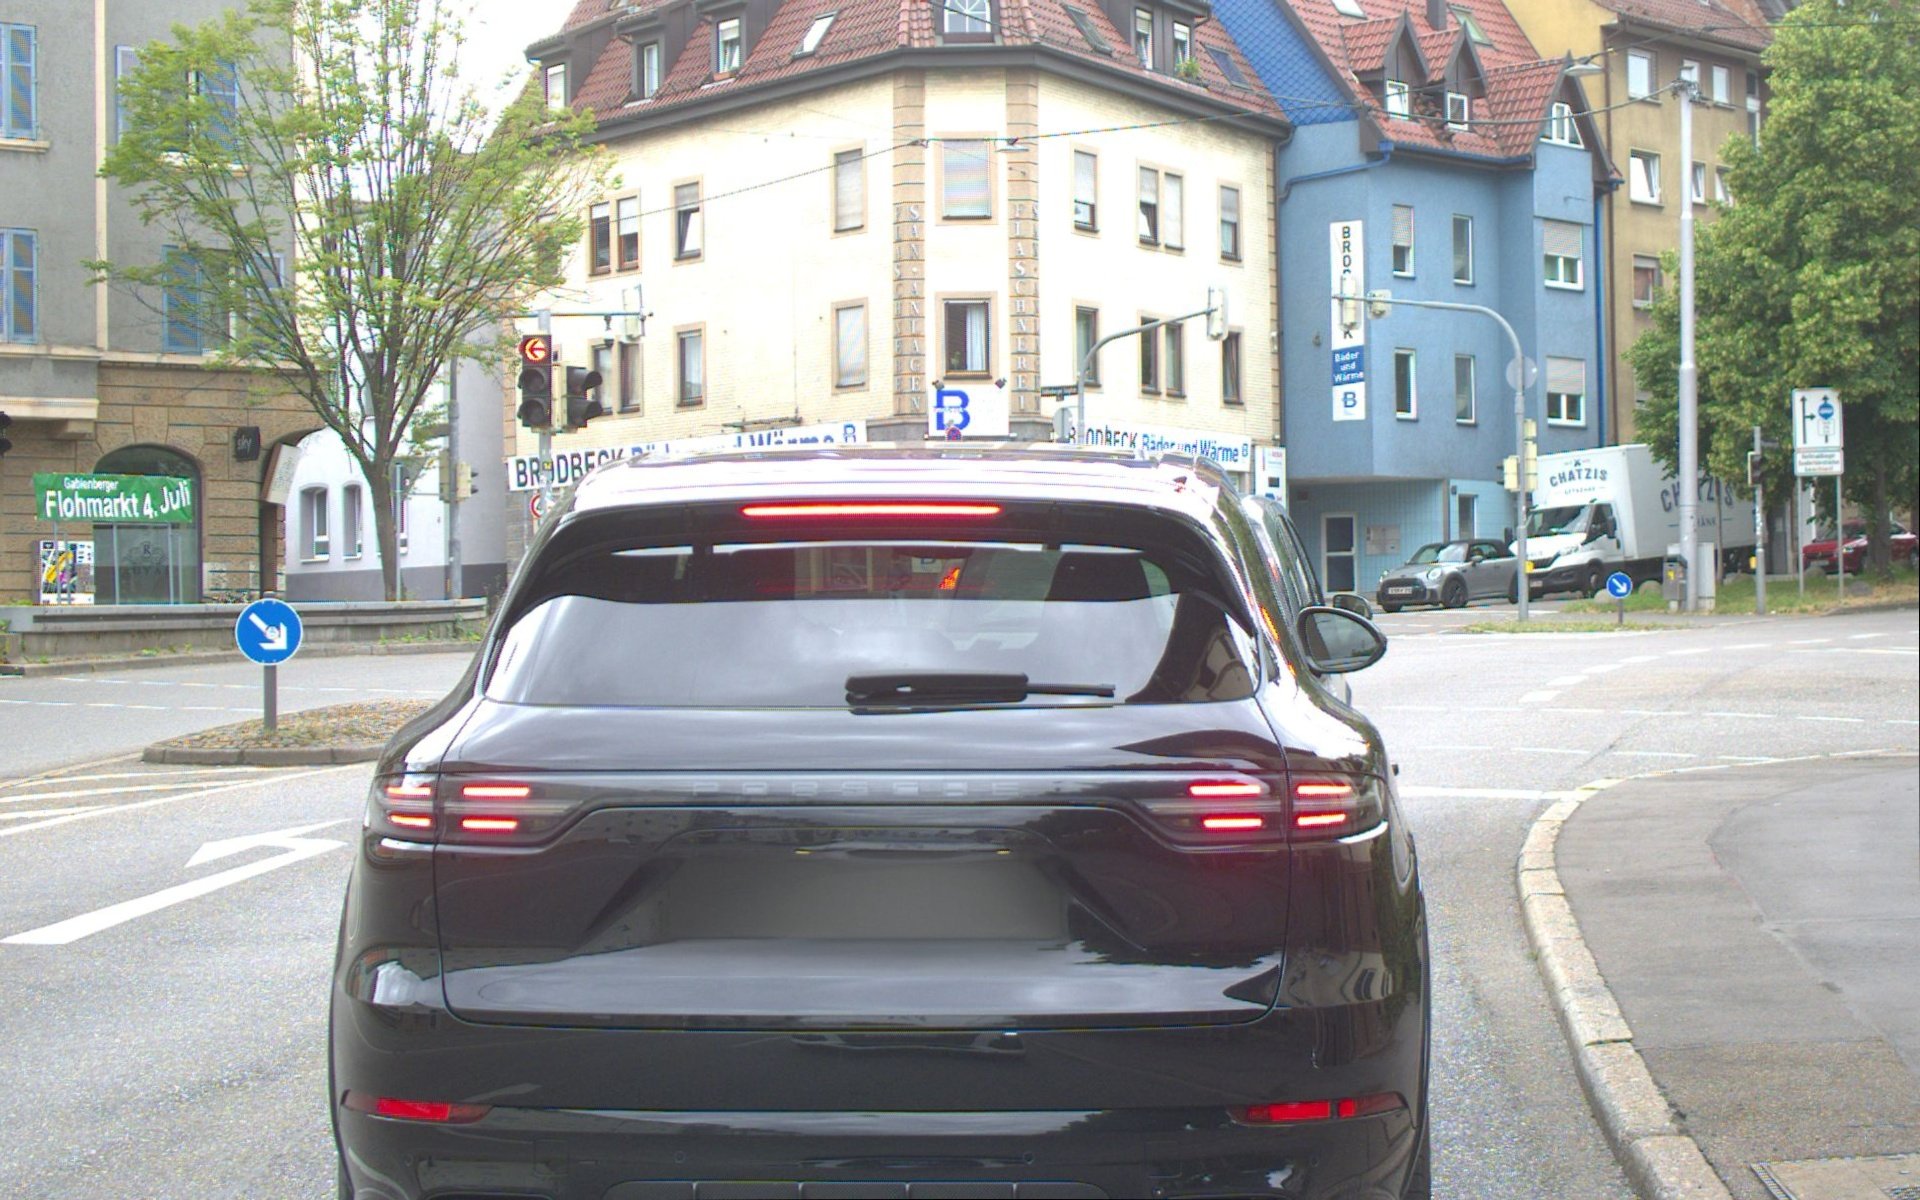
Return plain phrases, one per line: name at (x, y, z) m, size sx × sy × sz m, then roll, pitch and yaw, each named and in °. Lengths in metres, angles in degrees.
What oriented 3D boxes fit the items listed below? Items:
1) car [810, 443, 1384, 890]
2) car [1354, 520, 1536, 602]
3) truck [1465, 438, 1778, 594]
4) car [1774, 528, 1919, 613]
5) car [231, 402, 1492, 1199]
car at (0.750, 0.223, 15.052) m, size 1.994 × 1.678 × 3.998 m, roll 0°, pitch 1°, yaw 10°
car at (10.160, -0.817, 71.847) m, size 1.998 × 1.678 × 3.991 m, roll 1°, pitch 1°, yaw 39°
truck at (15.208, -1.860, 78.510) m, size 2.880 × 3.328 × 8.772 m, roll 2°, pitch 1°, yaw 41°
car at (22.354, -0.733, 86.188) m, size 1.999 × 2.007 × 3.990 m, roll 2°, pitch 1°, yaw 43°
car at (-0.262, 0.473, 7.408) m, size 1.978 × 1.678 × 4.001 m, roll 0°, pitch 2°, yaw -3°
